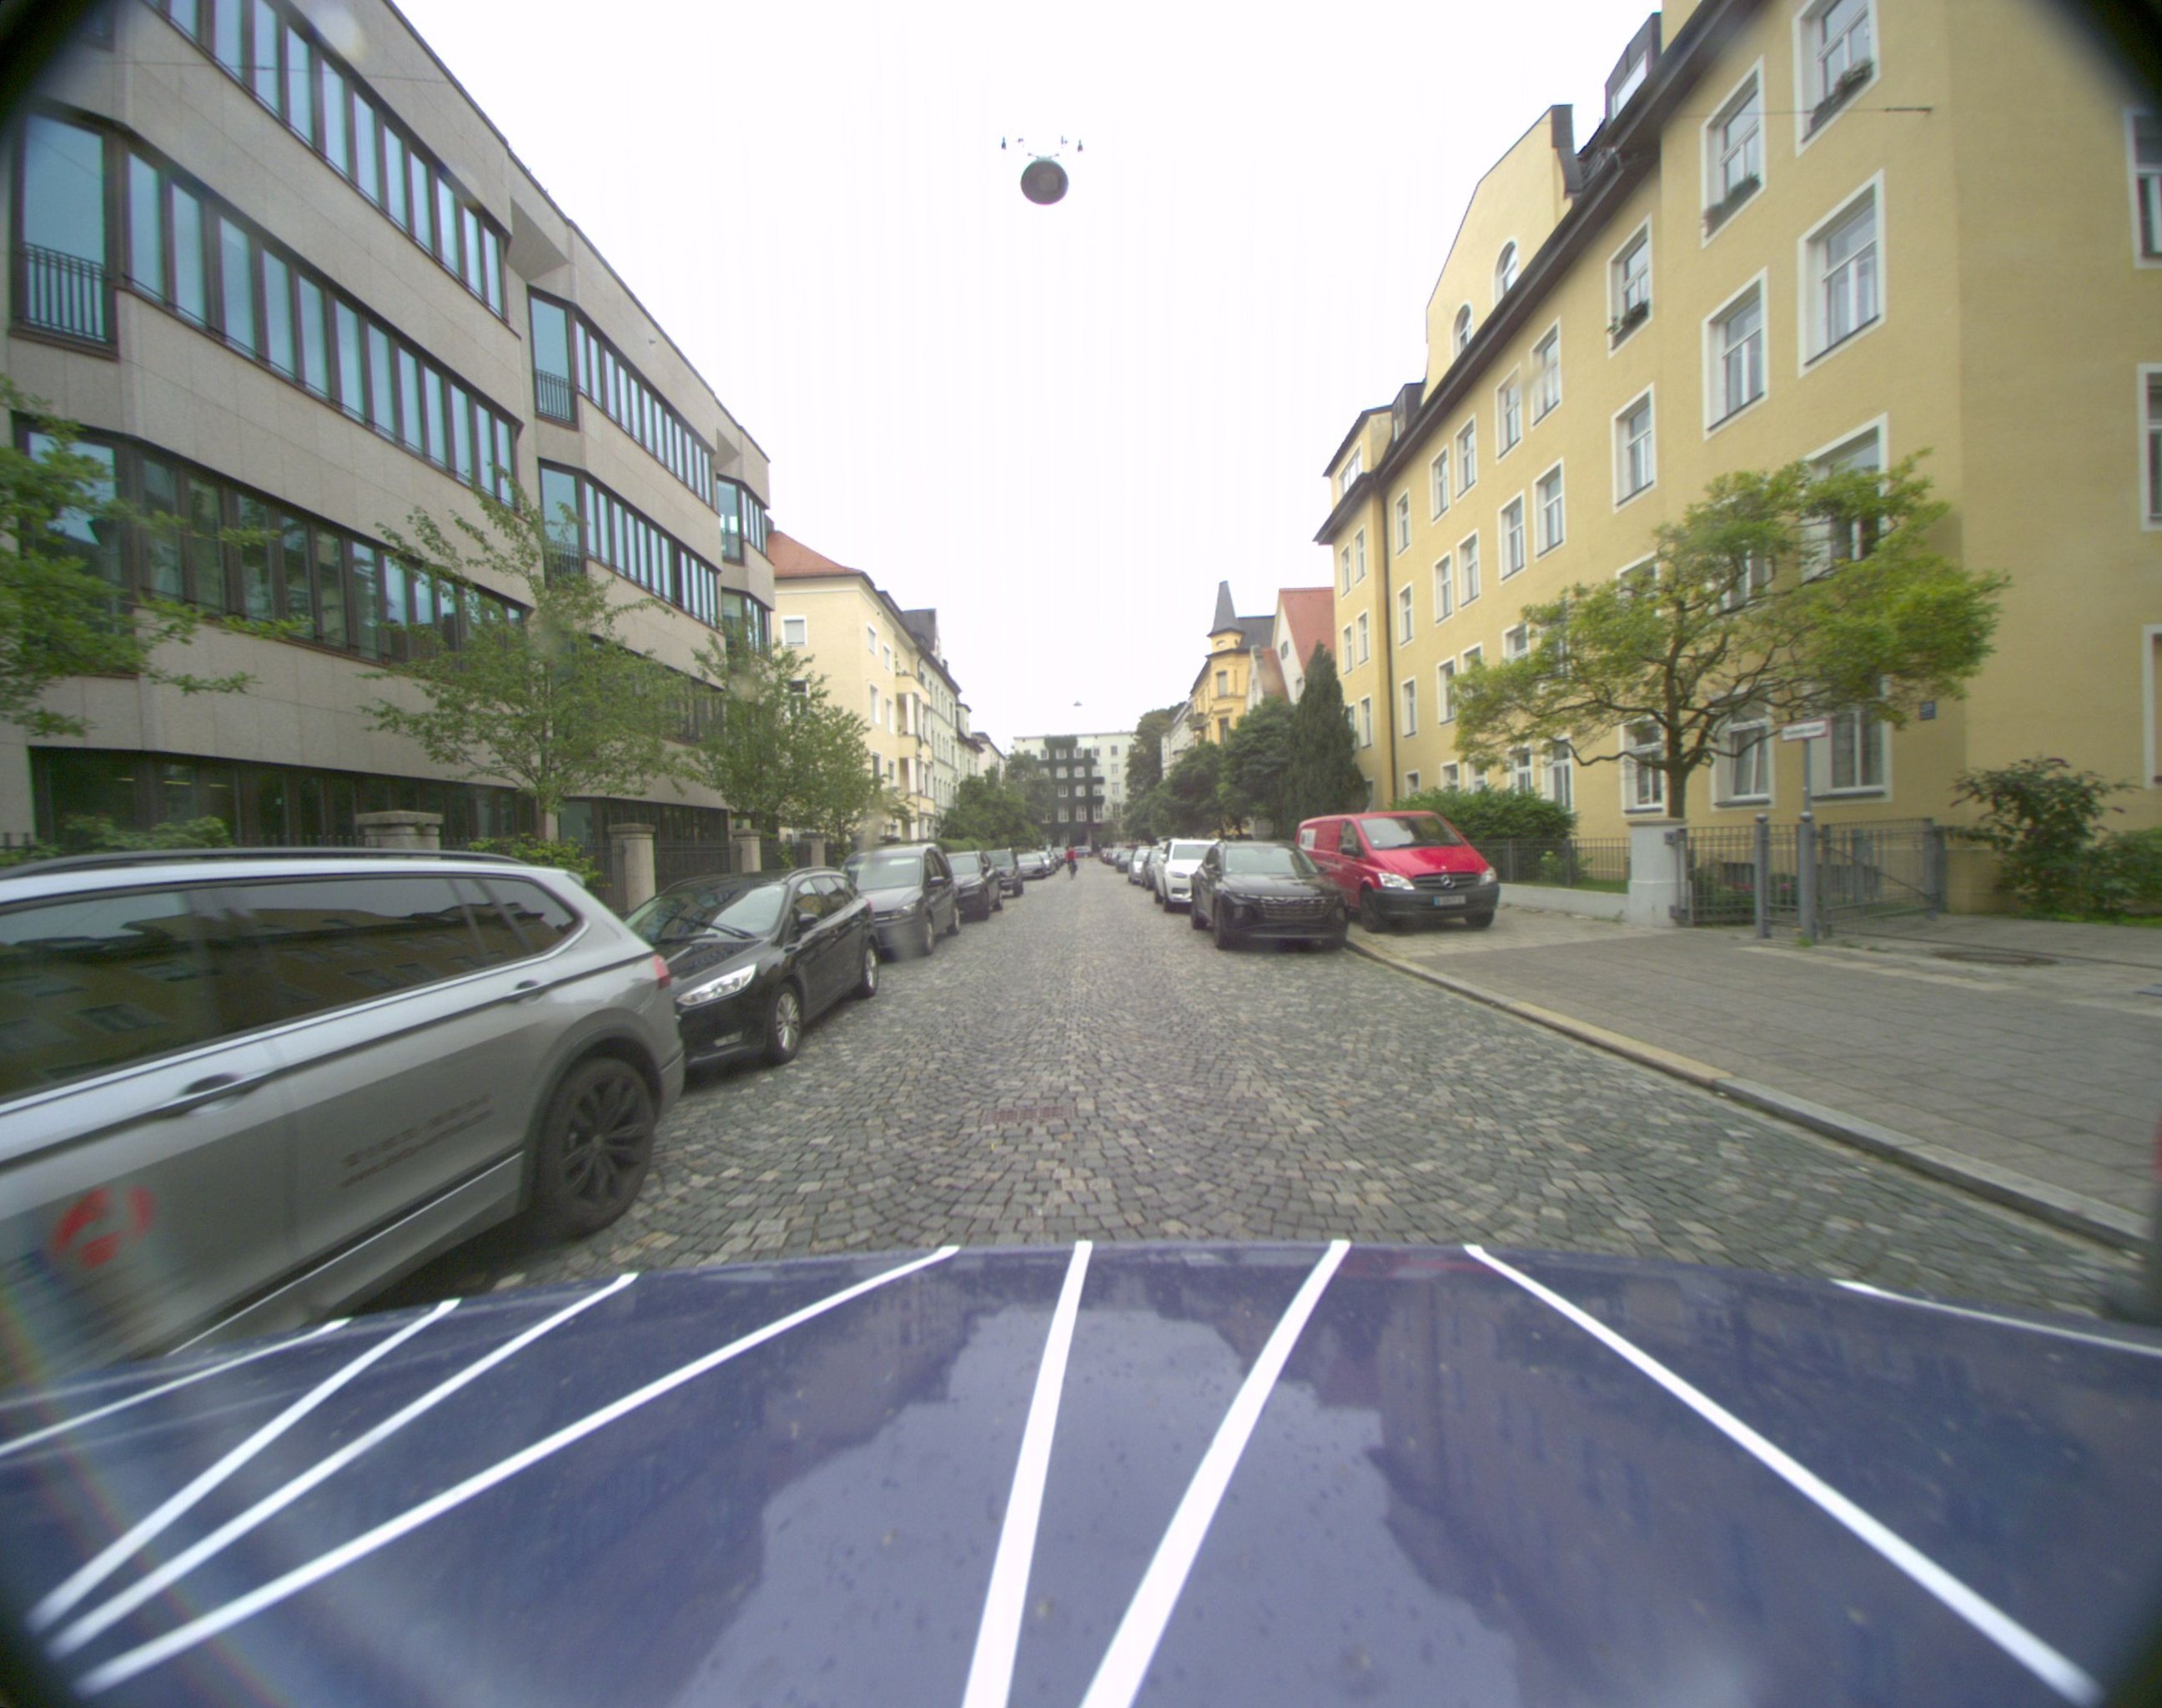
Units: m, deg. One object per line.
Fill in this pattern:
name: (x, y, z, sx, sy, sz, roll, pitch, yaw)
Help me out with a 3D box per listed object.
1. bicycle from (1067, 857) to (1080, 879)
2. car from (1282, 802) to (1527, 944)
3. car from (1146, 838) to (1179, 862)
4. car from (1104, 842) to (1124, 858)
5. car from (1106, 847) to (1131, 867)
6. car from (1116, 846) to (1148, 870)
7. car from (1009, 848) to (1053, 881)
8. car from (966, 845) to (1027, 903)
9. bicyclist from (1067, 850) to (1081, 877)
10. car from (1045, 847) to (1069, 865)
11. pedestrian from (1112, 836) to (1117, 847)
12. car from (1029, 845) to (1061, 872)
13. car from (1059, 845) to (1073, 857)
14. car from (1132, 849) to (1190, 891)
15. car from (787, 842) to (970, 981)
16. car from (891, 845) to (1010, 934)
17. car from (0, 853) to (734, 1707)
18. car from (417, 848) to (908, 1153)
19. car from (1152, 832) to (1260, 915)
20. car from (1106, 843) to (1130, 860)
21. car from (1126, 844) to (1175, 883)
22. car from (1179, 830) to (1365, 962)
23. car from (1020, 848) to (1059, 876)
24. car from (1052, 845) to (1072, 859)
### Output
bicycle: (-0.374, 0.696, 39.471, 0.636, 1.021, 1.955, -3, 1, 0)
car: (5.377, 0.235, 13.631, 1.999, 1.920, 5.329, -4, 1, 0)
car: (5.705, -0.304, 53.365, 1.744, 1.527, 4.466, -4, 1, 0)
car: (3.395, -0.398, 78.404, 1.846, 1.577, 4.191, -1, 1, -1)
car: (3.248, 0.235, 66.163, 1.744, 1.577, 4.190, -1, 1, -2)
car: (3.196, 0.206, 48.296, 1.819, 1.447, 4.912, 0, 1, 1)
car: (-2.772, 0.538, 43.098, 1.998, 1.543, 5.013, -5, 1, 1)
car: (-2.915, 0.638, 26.953, 1.623, 1.741, 3.886, -5, 1, -1)
bicyclist: (-0.370, 0.508, 39.426, 0.648, 1.351, 0.656, -4, 2, 0)
car: (-2.299, 0.150, 74.544, 1.909, 1.494, 5.104, -5, 1, 1)
pedestrian: (5.769, -2.209, 132.329, 0.666, 1.905, 0.863, -4, 2, 9)
car: (-2.479, 0.282, 53.250, 1.898, 1.644, 4.293, -4, 1, 0)
car: (-1.985, -0.410, 100.557, 1.744, 1.367, 4.181, -1, 1, 0)
car: (2.868, 0.525, 27.978, 1.734, 1.410, 3.935, 0, 1, 1)
car: (-3.184, 0.788, 13.006, 1.793, 1.786, 4.508, -6, 1, -1)
car: (-2.978, 0.733, 18.444, 1.865, 1.692, 4.812, -5, 1, 1)
car: (-2.962, 0.974, 1.672, 1.877, 1.725, 4.891, -4, 1, 2)
car: (-3.182, 0.914, 7.160, 1.878, 1.725, 4.658, -6, 1, 0)
car: (2.976, 0.388, 19.200, 2.011, 1.798, 5.174, -1, 1, 1)
car: (3.506, -0.261, 72.637, 1.875, 1.462, 5.132, -1, 1, -1)
car: (2.915, 0.344, 32.571, 1.718, 1.553, 4.389, -1, 1, 0)
car: (2.883, 0.523, 12.638, 1.922, 1.725, 4.755, 2, 1, 1)
car: (-2.557, 0.451, 48.325, 1.998, 1.543, 4.985, -4, 1, 1)
car: (-2.221, -0.278, 89.840, 1.942, 1.457, 4.532, -4, 1, 3)
